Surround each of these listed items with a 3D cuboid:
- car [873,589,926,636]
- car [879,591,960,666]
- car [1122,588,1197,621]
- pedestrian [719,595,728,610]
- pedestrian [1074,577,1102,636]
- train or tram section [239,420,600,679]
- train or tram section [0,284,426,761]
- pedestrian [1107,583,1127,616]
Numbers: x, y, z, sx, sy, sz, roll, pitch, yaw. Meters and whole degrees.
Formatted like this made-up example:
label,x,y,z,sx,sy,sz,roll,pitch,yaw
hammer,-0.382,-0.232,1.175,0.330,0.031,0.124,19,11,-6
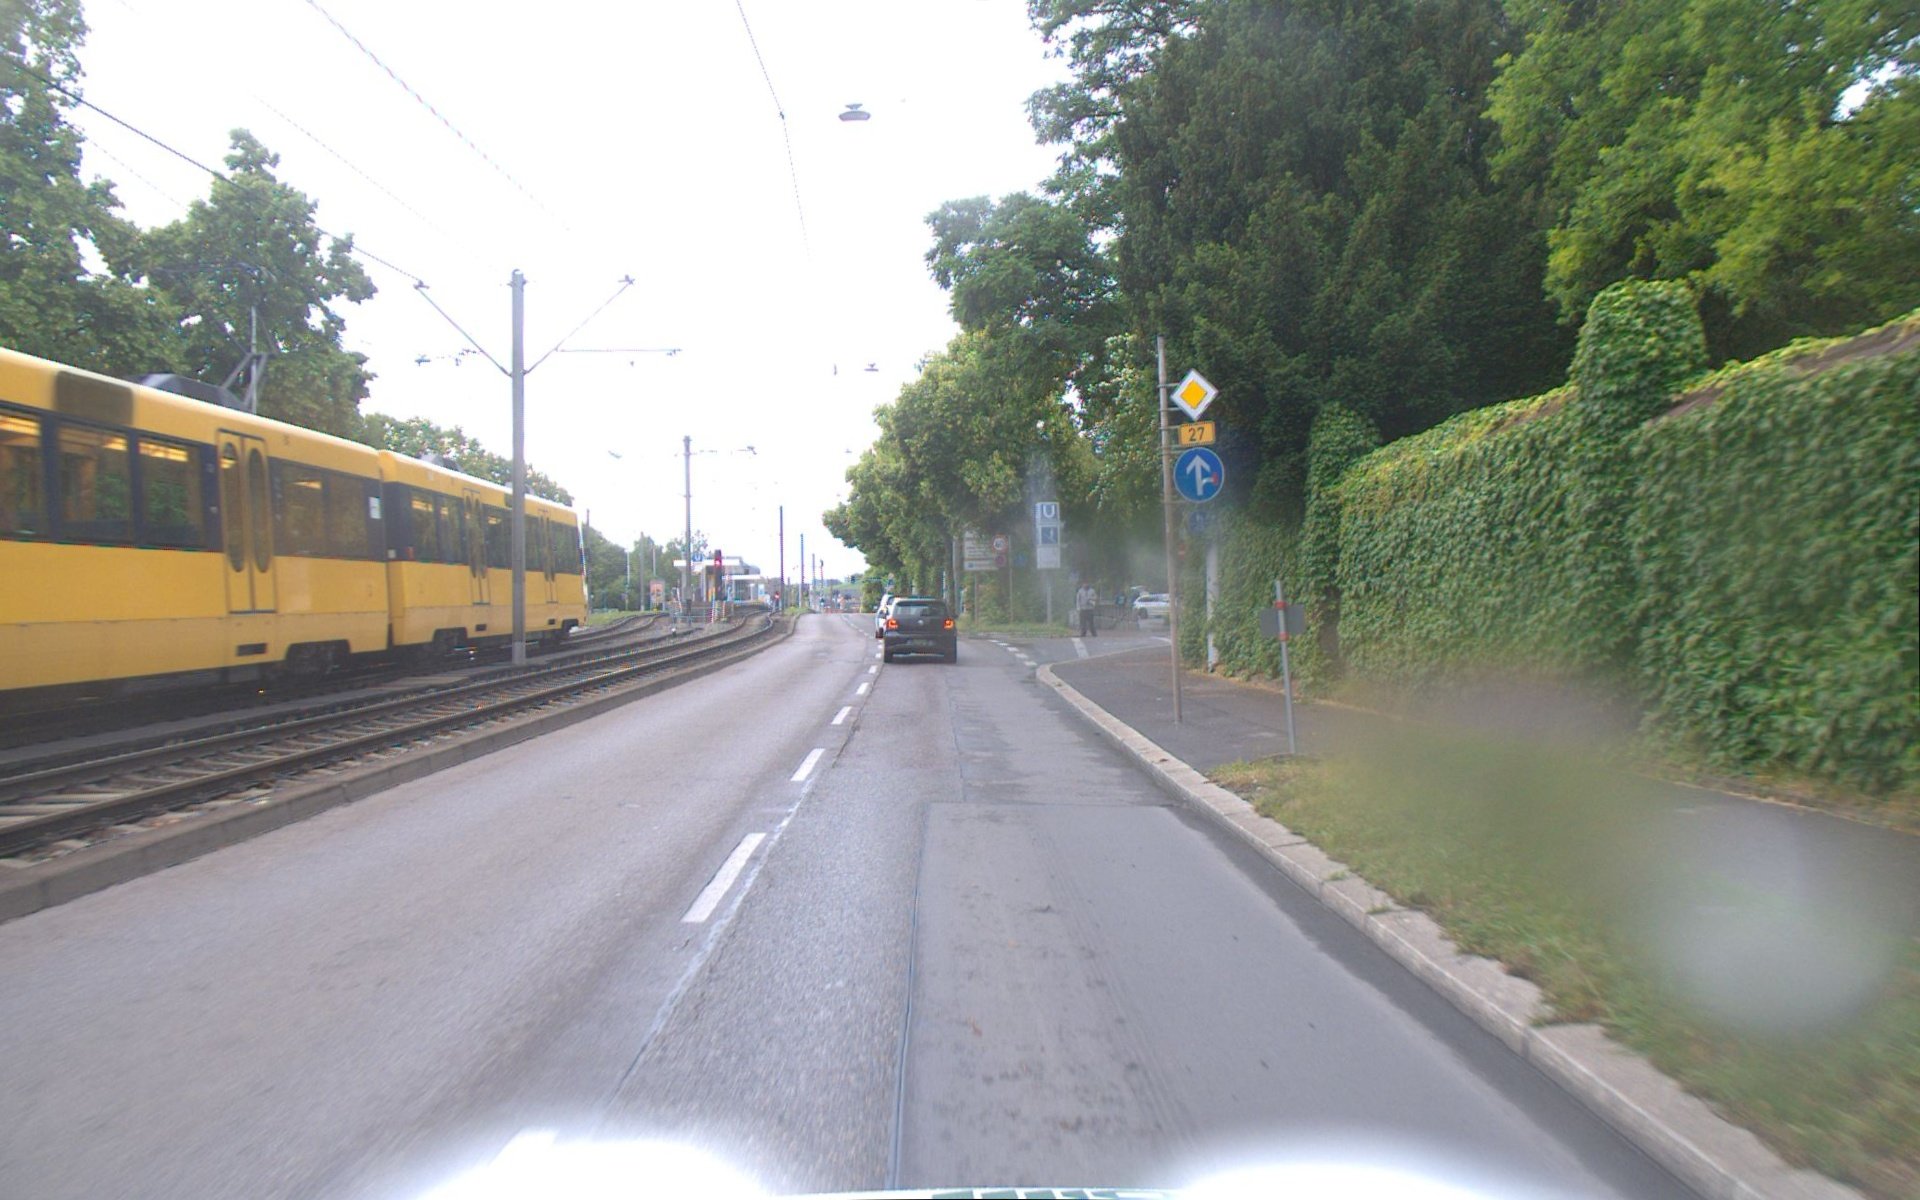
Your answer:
label,x,y,z,sx,sy,sz,roll,pitch,yaw
car,-2.136,0.405,57.574,1.654,1.544,3.996,-1,1,-5
car,-0.878,0.608,37.656,1.691,1.567,4.000,-1,1,1
car,12.403,0.267,103.166,1.932,1.866,4.394,1,1,-45
pedestrian,-19.839,0.229,139.018,0.696,1.247,0.619,0,0,-4
pedestrian,4.135,0.193,53.490,0.837,1.886,0.737,0,0,-1
train or tram section,-10.412,-0.896,34.887,2.772,4.045,17.864,-1,1,-4
train or tram section,-9.591,-0.670,16.106,2.771,4.045,20.023,-1,1,-2
pedestrian,9.866,-0.043,103.916,0.949,2.049,0.942,0,0,-28
